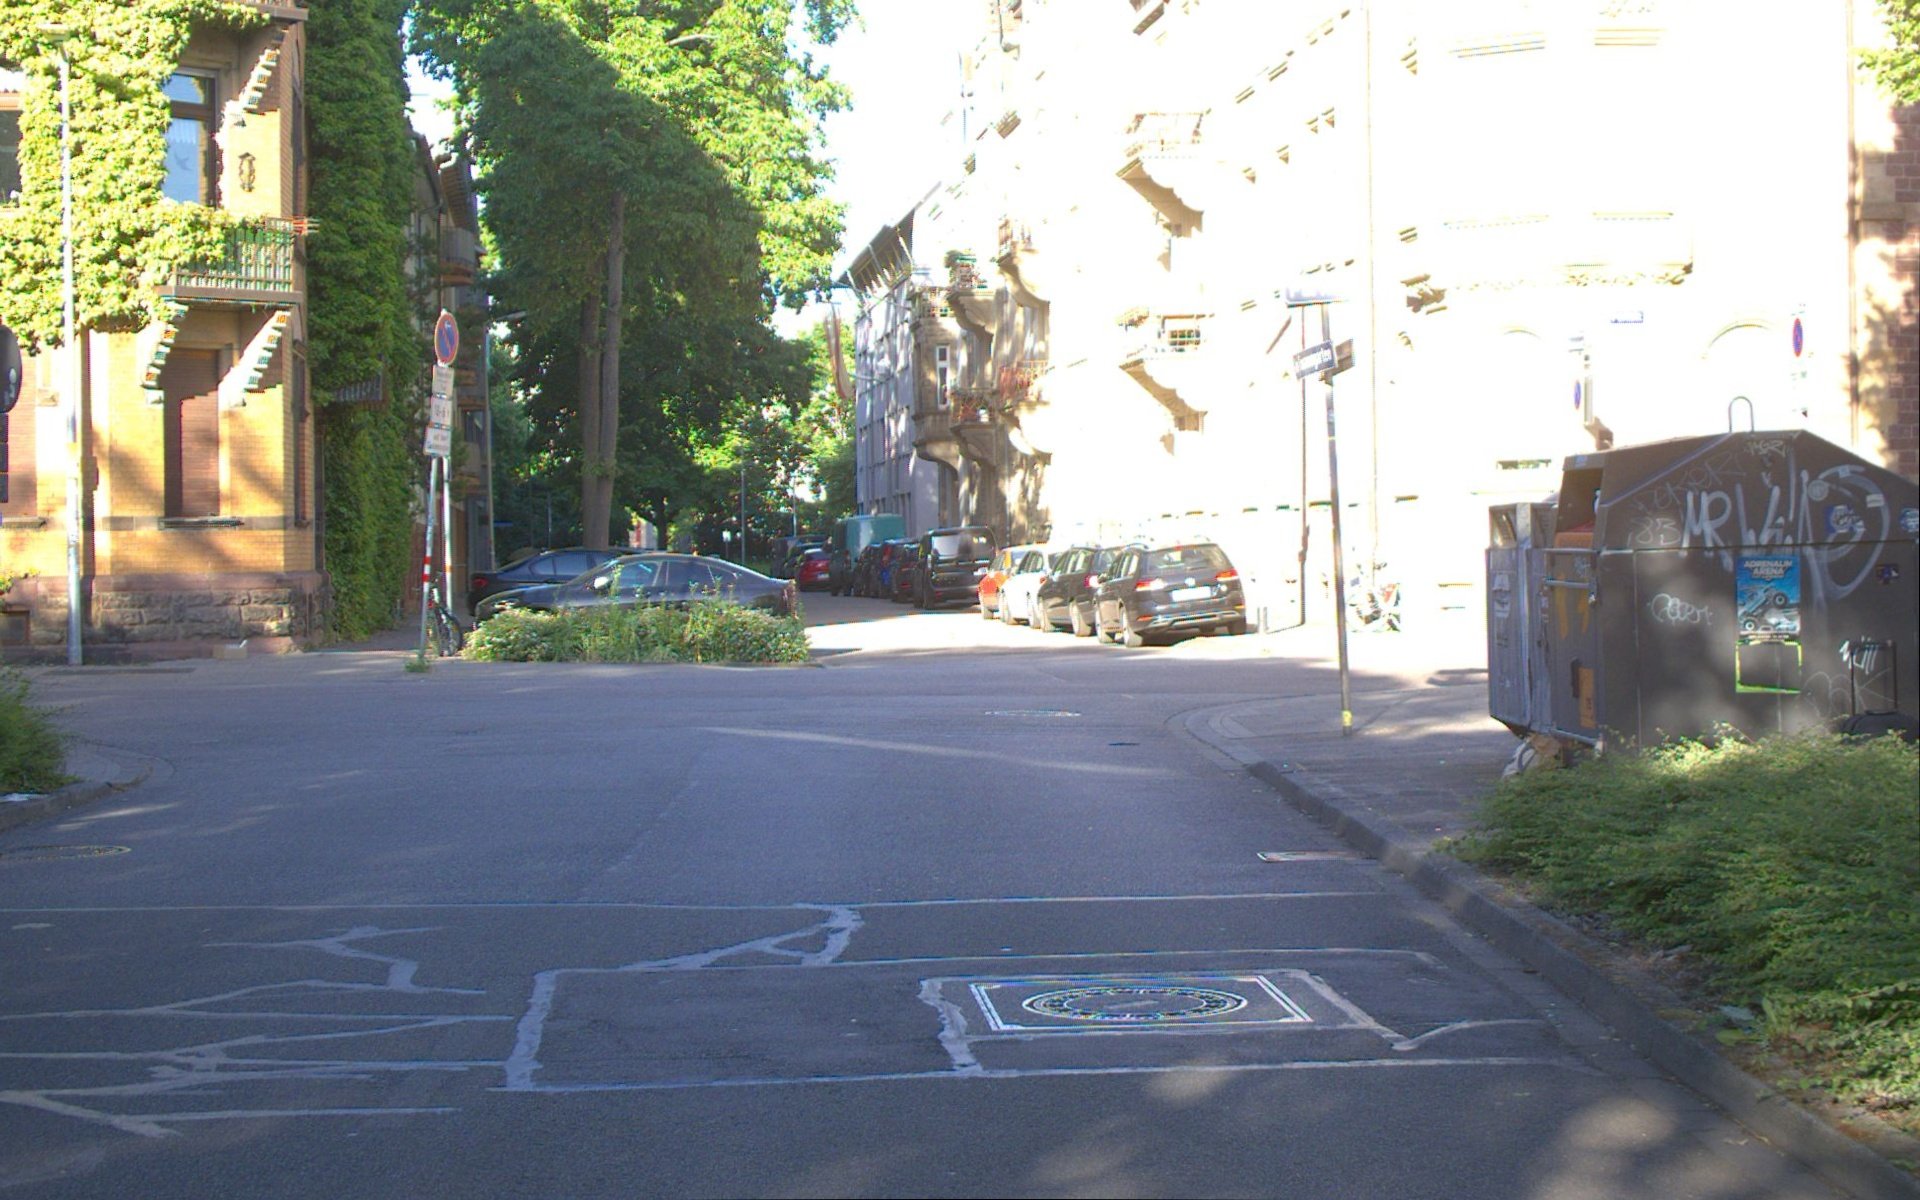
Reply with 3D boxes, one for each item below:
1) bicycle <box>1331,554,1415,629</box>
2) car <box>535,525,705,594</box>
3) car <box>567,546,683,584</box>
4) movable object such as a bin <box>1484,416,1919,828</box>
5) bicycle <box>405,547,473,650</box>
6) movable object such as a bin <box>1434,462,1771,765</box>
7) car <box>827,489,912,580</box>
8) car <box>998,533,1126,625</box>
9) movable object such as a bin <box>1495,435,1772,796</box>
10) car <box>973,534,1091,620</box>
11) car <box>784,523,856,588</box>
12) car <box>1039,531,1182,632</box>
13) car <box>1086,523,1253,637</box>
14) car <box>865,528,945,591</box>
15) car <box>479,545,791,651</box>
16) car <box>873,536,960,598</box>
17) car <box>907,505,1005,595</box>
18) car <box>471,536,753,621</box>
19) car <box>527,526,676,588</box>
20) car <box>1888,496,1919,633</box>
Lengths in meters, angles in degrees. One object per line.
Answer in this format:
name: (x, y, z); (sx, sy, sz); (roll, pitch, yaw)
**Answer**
bicycle: (5.575, -0.119, 46.469); (0.514, 0.994, 1.576); (0, 1, -18)
car: (-7.919, -0.942, 79.957); (3.800, 1.570, 1.710); (0, 1, -10)
car: (-11.252, -1.186, 115.405); (3.800, 1.236, 1.710); (0, 1, -8)
movable object such as a bin: (3.555, 0.092, 16.215); (1.920, 1.847, 1.393); (0, 1, -1)
bicycle: (-6.596, -0.028, 43.572); (0.563, 1.264, 1.603); (-1, 1, 1)
movable object such as a bin: (3.641, 0.065, 19.693); (1.586, 1.652, 1.640); (0, 1, -1)
car: (-2.755, -1.955, 103.707); (2.165, 2.681, 4.792); (0, 1, -6)
car: (1.780, -0.392, 61.425); (1.737, 1.576, 4.001); (0, 1, -6)
movable object such as a bin: (3.513, 0.072, 18.080); (1.147, 1.821, 1.386); (0, 1, -1)
car: (1.349, -0.454, 65.964); (1.737, 1.576, 4.001); (0, 1, -6)
car: (-4.936, -1.575, 120.729); (2.165, 2.229, 4.792); (0, 1, -6)
car: (2.416, -0.318, 56.050); (1.737, 1.576, 4.001); (0, 1, -6)
car: (2.988, -0.297, 49.775); (1.737, 1.576, 4.001); (0, 1, -6)
car: (-1.512, -1.119, 93.764); (1.802, 1.673, 4.001); (0, 1, -6)
car: (-4.567, -0.035, 47.963); (4.242, 1.430, 2.000); (0, 1, -8)
car: (-1.109, -0.848, 86.661); (1.802, 1.509, 4.001); (0, 1, -6)
car: (-0.127, -1.140, 78.328); (1.802, 1.997, 4.001); (0, 1, -6)
car: (-6.103, -0.380, 60.174); (4.833, 1.430, 1.710); (0, 1, -8)
car: (-9.349, -1.122, 89.606); (3.800, 1.570, 1.710); (0, 1, -8)
car: (13.475, -0.410, 41.081); (4.243, 1.616, 1.736); (0, 2, -10)
